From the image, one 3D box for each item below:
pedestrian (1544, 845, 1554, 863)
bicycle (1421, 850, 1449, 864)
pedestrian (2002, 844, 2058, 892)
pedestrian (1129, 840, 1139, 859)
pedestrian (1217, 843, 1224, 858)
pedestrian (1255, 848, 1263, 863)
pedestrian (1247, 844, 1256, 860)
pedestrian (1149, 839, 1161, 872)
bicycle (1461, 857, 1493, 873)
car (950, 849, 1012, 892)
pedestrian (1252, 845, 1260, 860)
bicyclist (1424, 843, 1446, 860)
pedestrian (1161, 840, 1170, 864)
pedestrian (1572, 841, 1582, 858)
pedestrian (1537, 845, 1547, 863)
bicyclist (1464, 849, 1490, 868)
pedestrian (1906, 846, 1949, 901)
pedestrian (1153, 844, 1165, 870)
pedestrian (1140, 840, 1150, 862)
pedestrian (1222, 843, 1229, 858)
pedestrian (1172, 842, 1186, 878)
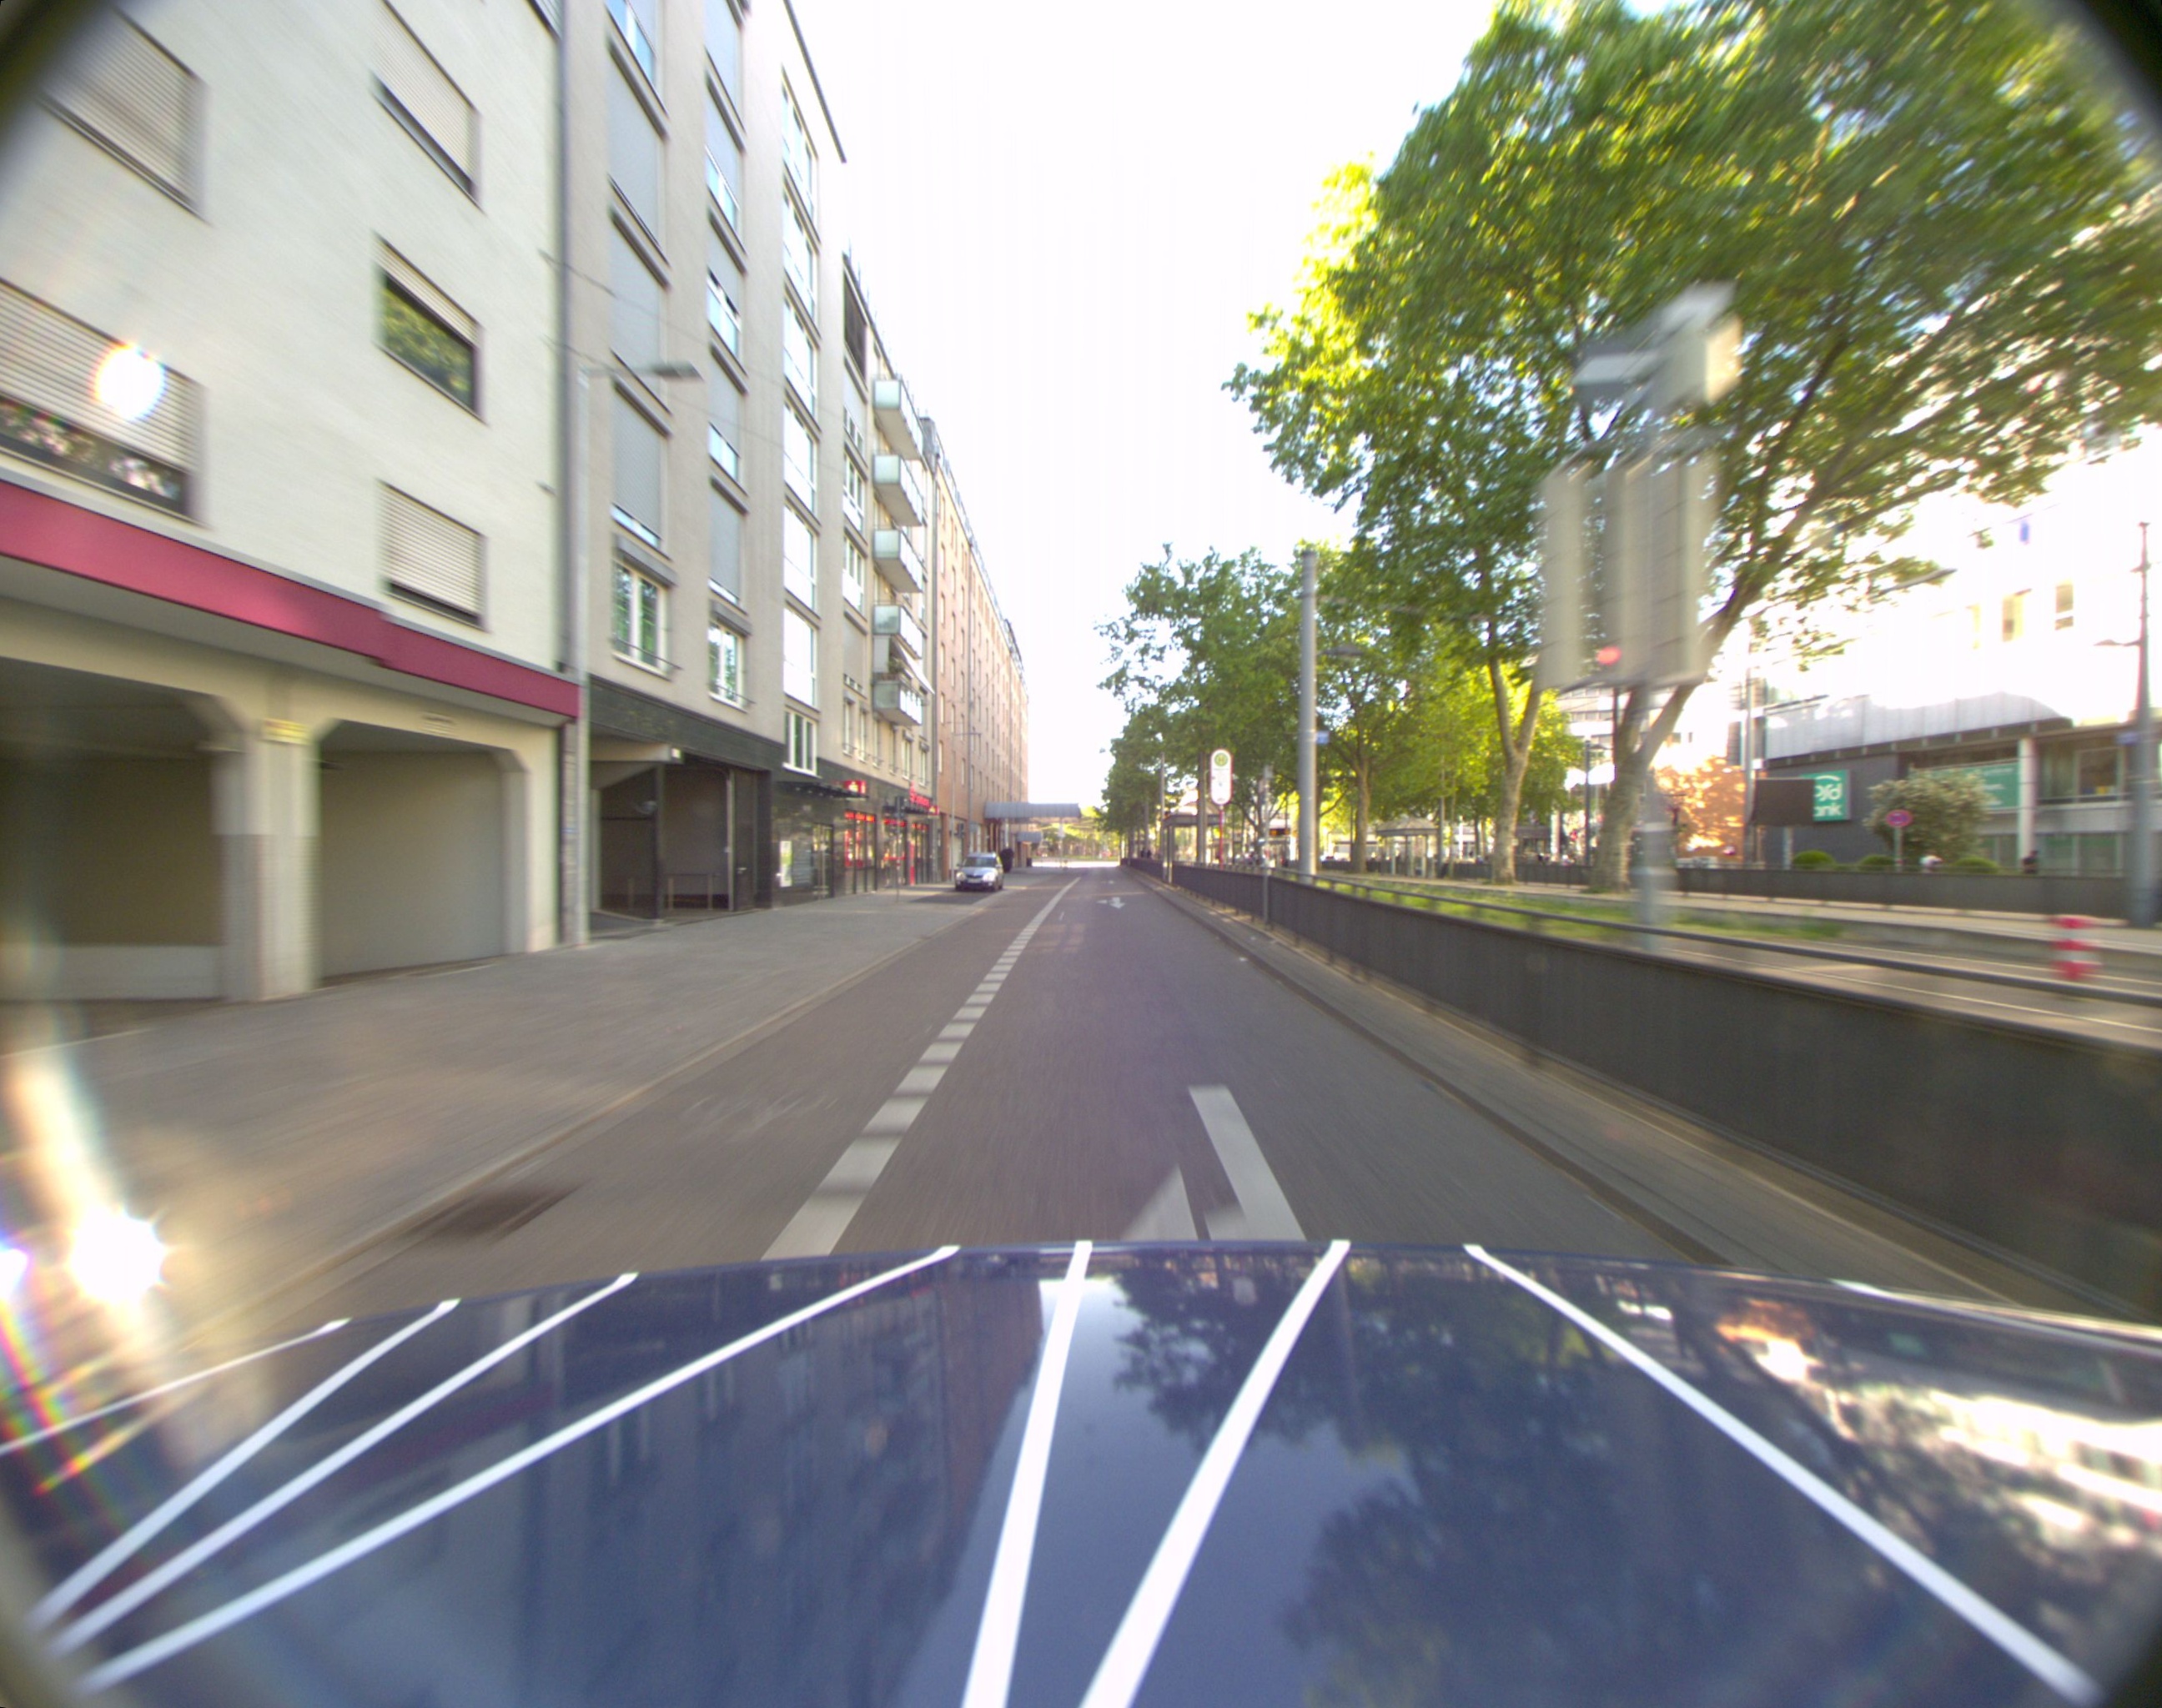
[{"bbox_3d":[41.674,0.022,67.634,0.579,1.595,0.598,-1,1,6],"label":"pedestrian"},{"bbox_3d":[26.709,0.244,57.398,0.802,0.991,2.585,-2,0,-1],"label":"bicycle"},{"bbox_3d":[31.633,0.470,25.338,0.908,1.583,0.767,0,1,1],"label":"pedestrian"},{"bbox_3d":[4.765,-0.414,68.633,0.742,1.680,0.645,-3,1,0],"label":"pedestrian"},{"bbox_3d":[16.547,-0.409,90.280,0.656,1.744,0.676,-1,1,-7],"label":"pedestrian"},{"bbox_3d":[17.318,0.113,74.071,0.571,1.477,0.607,-1,1,-10],"label":"pedestrian"},{"bbox_3d":[17.334,-0.174,77.051,0.669,1.632,0.669,-1,1,-10],"label":"pedestrian"},{"bbox_3d":[4.216,0.100,43.344,0.647,1.876,0.661,0,1,1],"label":"pedestrian"},{"bbox_3d":[26.439,0.742,50.761,0.802,0.991,2.585,-2,0,0],"label":"bicycle"},{"bbox_3d":[-4.122,0.642,31.918,1.837,1.613,4.284,2,1,2],"label":"car"},{"bbox_3d":[17.196,-0.126,74.661,0.554,1.488,0.550,-1,1,-10],"label":"pedestrian"},{"bbox_3d":[26.742,-0.188,57.379,1.007,1.243,1.374,-2,0,-1],"label":"bicyclist"},{"bbox_3d":[6.563,-0.137,59.236,0.648,1.829,0.638,0,1,1],"label":"pedestrian"},{"bbox_3d":[46.668,-0.440,71.448,0.579,1.595,0.597,-1,1,1],"label":"pedestrian"},{"bbox_3d":[41.126,0.033,67.756,0.579,1.595,0.580,-1,1,6],"label":"pedestrian"},{"bbox_3d":[26.435,0.274,50.695,1.006,1.243,1.374,-2,0,0],"label":"bicyclist"},{"bbox_3d":[31.032,0.692,27.858,0.607,1.965,0.834,-2,1,-1],"label":"pedestrian"},{"bbox_3d":[5.174,0.172,50.465,0.731,1.692,0.863,-1,1,3],"label":"pedestrian"},{"bbox_3d":[5.231,-0.229,62.294,0.708,1.791,0.826,-1,1,-6],"label":"pedestrian"},{"bbox_3d":[17.165,-0.431,90.271,0.686,1.686,0.698,-1,1,-7],"label":"pedestrian"},{"bbox_3d":[5.053,0.302,39.280,0.647,1.861,0.753,-1,1,2],"label":"pedestrian"}]
